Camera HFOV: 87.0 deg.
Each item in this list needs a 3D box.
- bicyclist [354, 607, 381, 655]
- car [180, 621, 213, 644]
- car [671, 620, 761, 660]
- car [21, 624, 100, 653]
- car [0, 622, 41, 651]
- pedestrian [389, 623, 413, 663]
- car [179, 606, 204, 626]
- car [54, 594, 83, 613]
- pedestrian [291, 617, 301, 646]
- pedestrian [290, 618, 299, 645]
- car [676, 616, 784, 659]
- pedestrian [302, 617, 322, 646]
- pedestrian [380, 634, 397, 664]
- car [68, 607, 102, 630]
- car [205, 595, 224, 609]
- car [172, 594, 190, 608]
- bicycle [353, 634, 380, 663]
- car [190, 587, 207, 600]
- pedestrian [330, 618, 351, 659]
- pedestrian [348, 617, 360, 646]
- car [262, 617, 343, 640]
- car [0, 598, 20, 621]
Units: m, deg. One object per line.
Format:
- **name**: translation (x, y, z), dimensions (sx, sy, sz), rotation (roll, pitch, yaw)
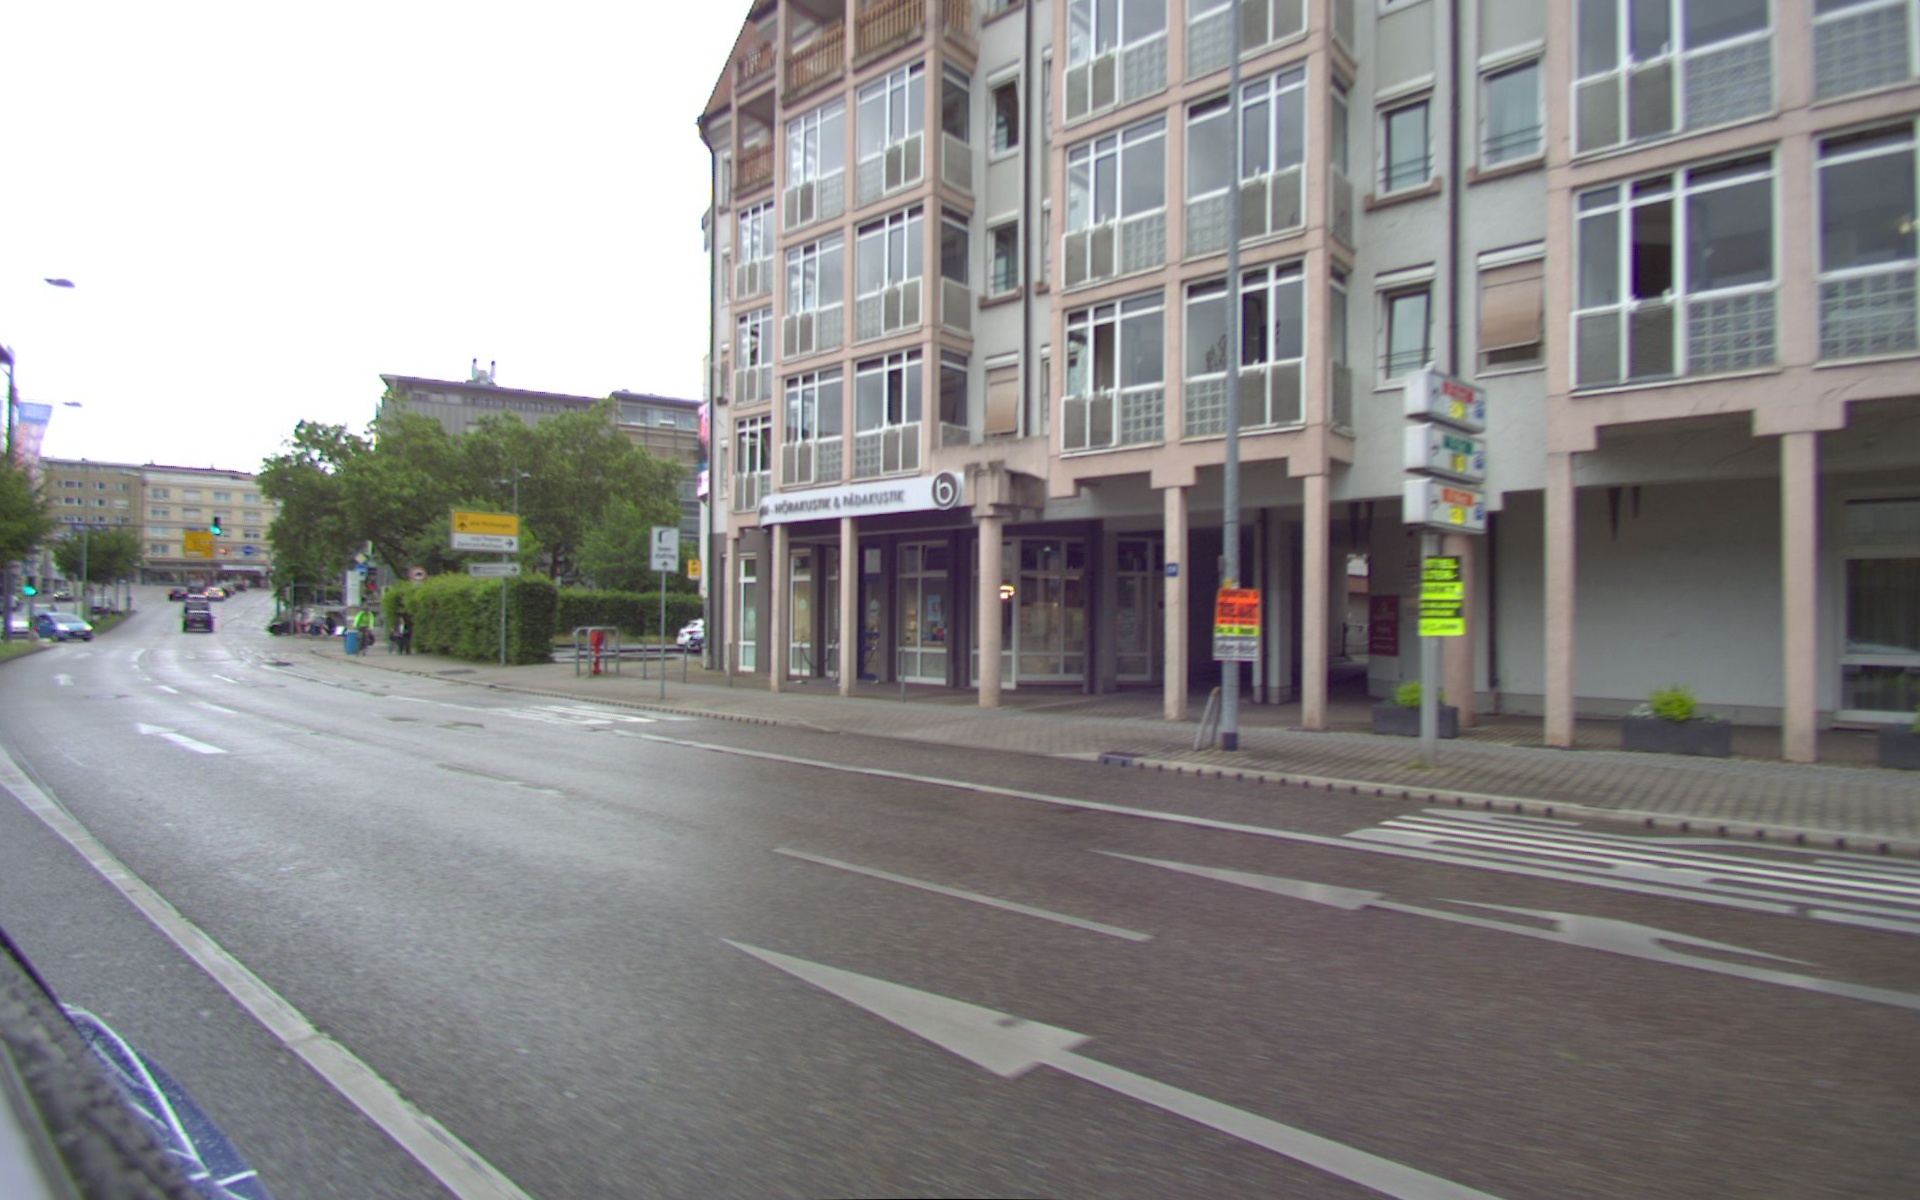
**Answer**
- **bicyclist**: translation (-23.701, 1.238, 40.451), dimensions (0.781, 1.904, 0.956), rotation (1, -1, -38)
- **car**: translation (-53.826, 2.263, 71.389), dimensions (1.734, 1.431, 4.106), rotation (3, -2, -37)
- **car**: translation (-10.654, 1.712, 44.232), dimensions (3.538, 1.587, 1.605), rotation (-1, 0, -30)
- **car**: translation (-46.921, 1.998, 52.798), dimensions (3.667, 1.485, 1.687), rotation (-1, -2, 24)
- **car**: translation (-53.419, 2.049, 57.352), dimensions (1.742, 1.420, 4.008), rotation (-1, 1, -38)
- **pedestrian**: translation (-22.414, 1.704, 40.571), dimensions (0.565, 1.571, 0.706), rotation (-2, -2, 45)
- **car**: translation (-71.466, 1.443, 94.098), dimensions (1.803, 1.749, 4.320), rotation (2, -1, -37)
- **car**: translation (-93.683, 0.369, 106.369), dimensions (1.803, 1.749, 4.011), rotation (2, 1, -35)
- **pedestrian**: translation (-44.320, 2.087, 67.512), dimensions (0.441, 1.851, 0.677), rotation (1, 1, -41)
- **pedestrian**: translation (-44.898, 2.117, 68.250), dimensions (0.406, 1.777, 0.678), rotation (1, -3, -38)
- **car**: translation (-9.563, 1.520, 42.068), dimensions (3.992, 1.587, 1.961), rotation (-1, 0, -27)
- **pedestrian**: translation (-42.677, 2.074, 66.677), dimensions (0.824, 1.921, 0.852), rotation (0, 0, 30)
- **pedestrian**: translation (-22.799, 1.956, 40.345), dimensions (0.463, 1.159, 0.502), rotation (1, -2, -45)
- **car**: translation (-75.957, 1.563, 87.887), dimensions (1.803, 1.749, 4.011), rotation (2, 1, -35)
- **car**: translation (-85.813, 0.190, 116.457), dimensions (1.650, 1.527, 3.651), rotation (3, -2, -36)
- **car**: translation (-86.980, 0.106, 112.990), dimensions (1.601, 1.567, 3.667), rotation (1, -1, -38)
- **bicycle**: translation (-23.784, 1.924, 40.540), dimensions (0.642, 1.119, 2.062), rotation (1, -1, -39)
- **car**: translation (-96.161, -0.780, 127.812), dimensions (1.691, 1.490, 3.966), rotation (3, -1, -37)
- **pedestrian**: translation (-27.025, 1.679, 44.126), dimensions (0.528, 1.778, 0.622), rotation (-1, -2, 41)
- **pedestrian**: translation (-38.607, 1.987, 64.428), dimensions (0.520, 1.777, 0.594), rotation (-3, 2, -38)
- **car**: translation (-46.165, 1.993, 71.163), dimensions (4.360, 1.406, 1.935), rotation (2, -1, -3)
- **car**: translation (-81.538, 0.757, 85.999), dimensions (1.803, 1.749, 4.011), rotation (2, 1, -35)
